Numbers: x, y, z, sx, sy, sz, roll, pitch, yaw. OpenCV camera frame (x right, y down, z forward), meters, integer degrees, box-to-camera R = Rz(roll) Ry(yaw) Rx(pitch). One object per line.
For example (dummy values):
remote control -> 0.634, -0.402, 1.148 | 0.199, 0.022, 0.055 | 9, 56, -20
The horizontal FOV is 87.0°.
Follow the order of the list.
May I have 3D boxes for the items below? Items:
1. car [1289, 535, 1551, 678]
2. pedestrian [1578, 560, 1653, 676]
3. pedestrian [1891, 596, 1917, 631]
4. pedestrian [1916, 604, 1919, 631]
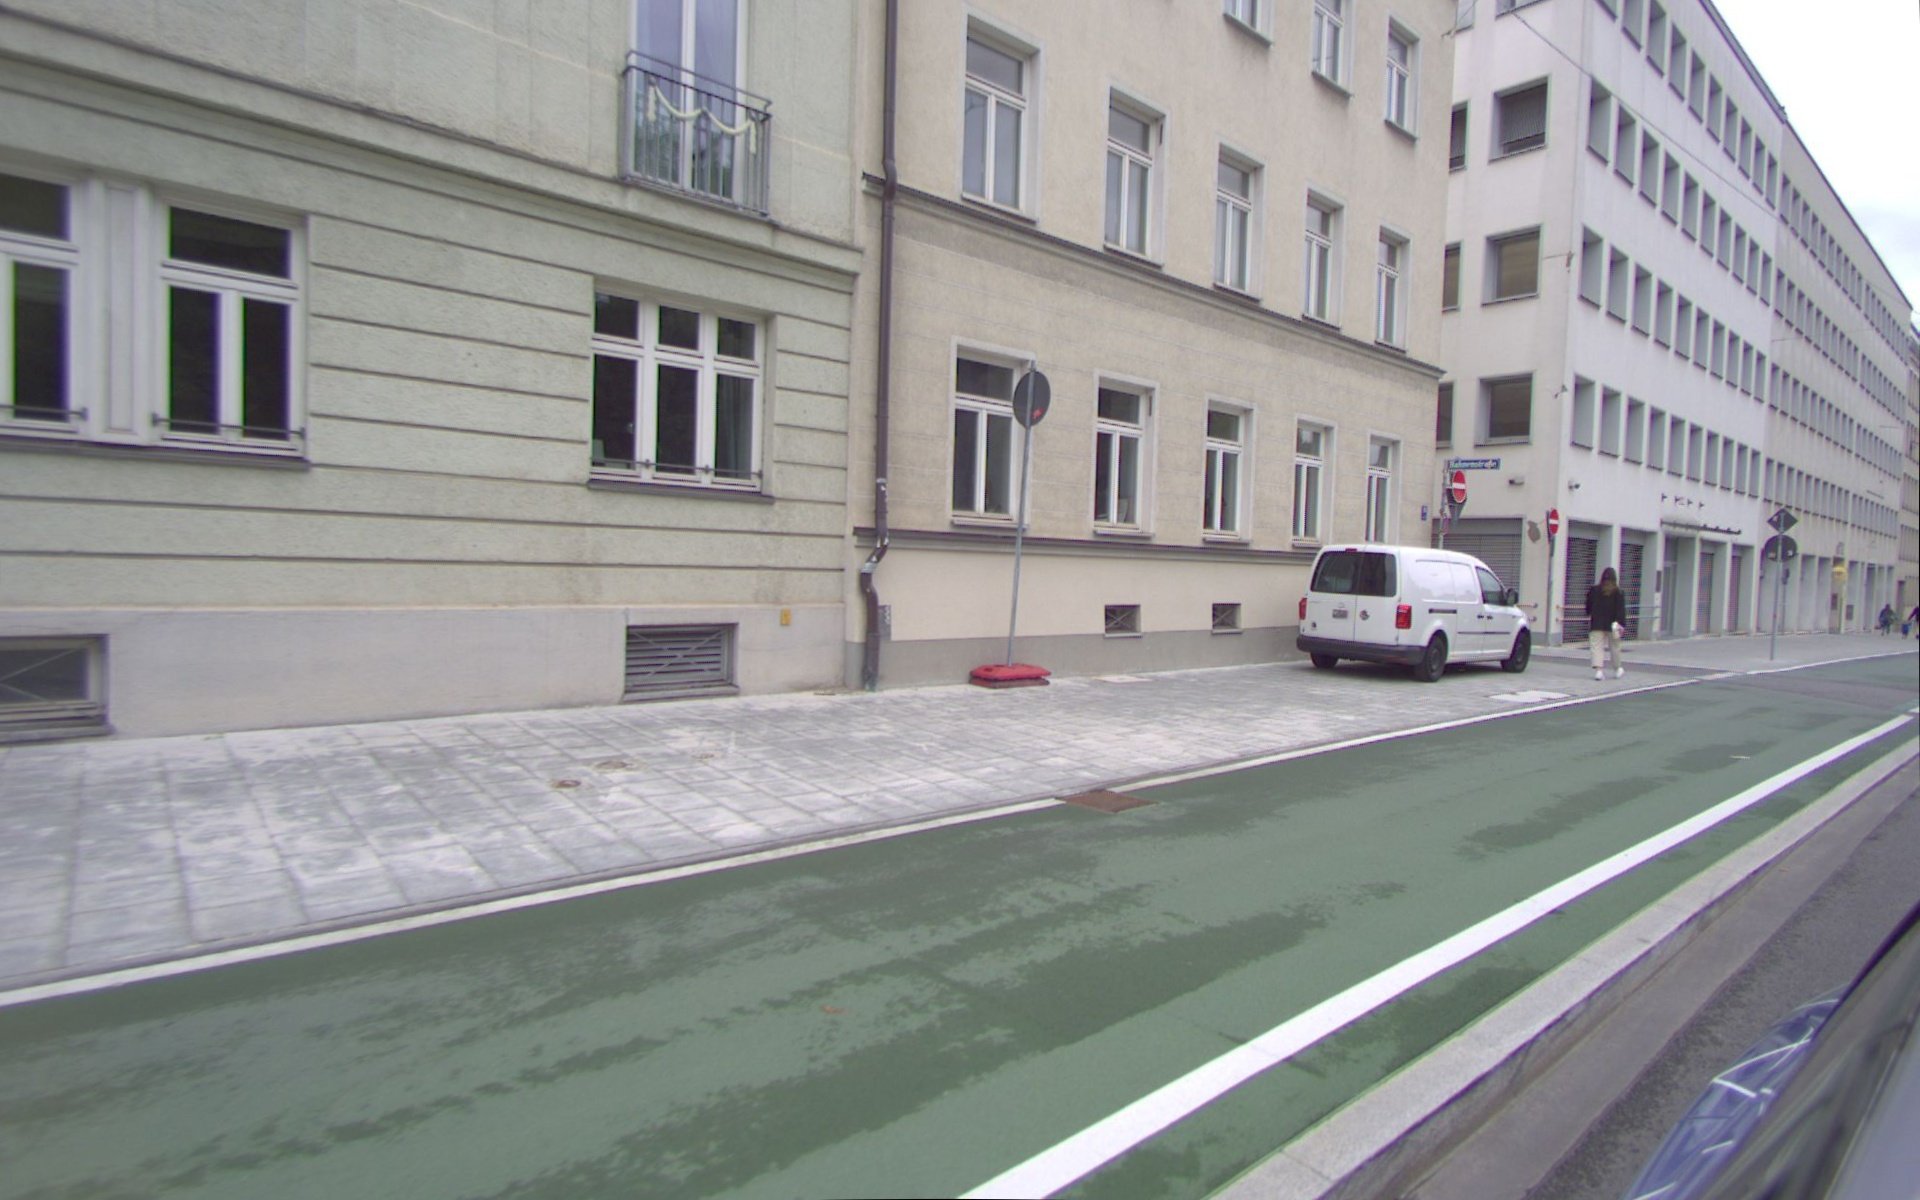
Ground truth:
car -> 6.831, 0.049, 14.818 | 4.357, 1.771, 1.737 | 0, 3, -41
pedestrian -> 9.747, 0.249, 15.055 | 0.724, 1.655, 0.666 | 1, 3, -41
pedestrian -> 47.463, 0.670, 50.883 | 0.691, 1.638, 0.754 | 1, 6, -40
pedestrian -> 46.615, 0.852, 48.964 | 0.461, 1.261, 0.368 | 1, 6, -40
